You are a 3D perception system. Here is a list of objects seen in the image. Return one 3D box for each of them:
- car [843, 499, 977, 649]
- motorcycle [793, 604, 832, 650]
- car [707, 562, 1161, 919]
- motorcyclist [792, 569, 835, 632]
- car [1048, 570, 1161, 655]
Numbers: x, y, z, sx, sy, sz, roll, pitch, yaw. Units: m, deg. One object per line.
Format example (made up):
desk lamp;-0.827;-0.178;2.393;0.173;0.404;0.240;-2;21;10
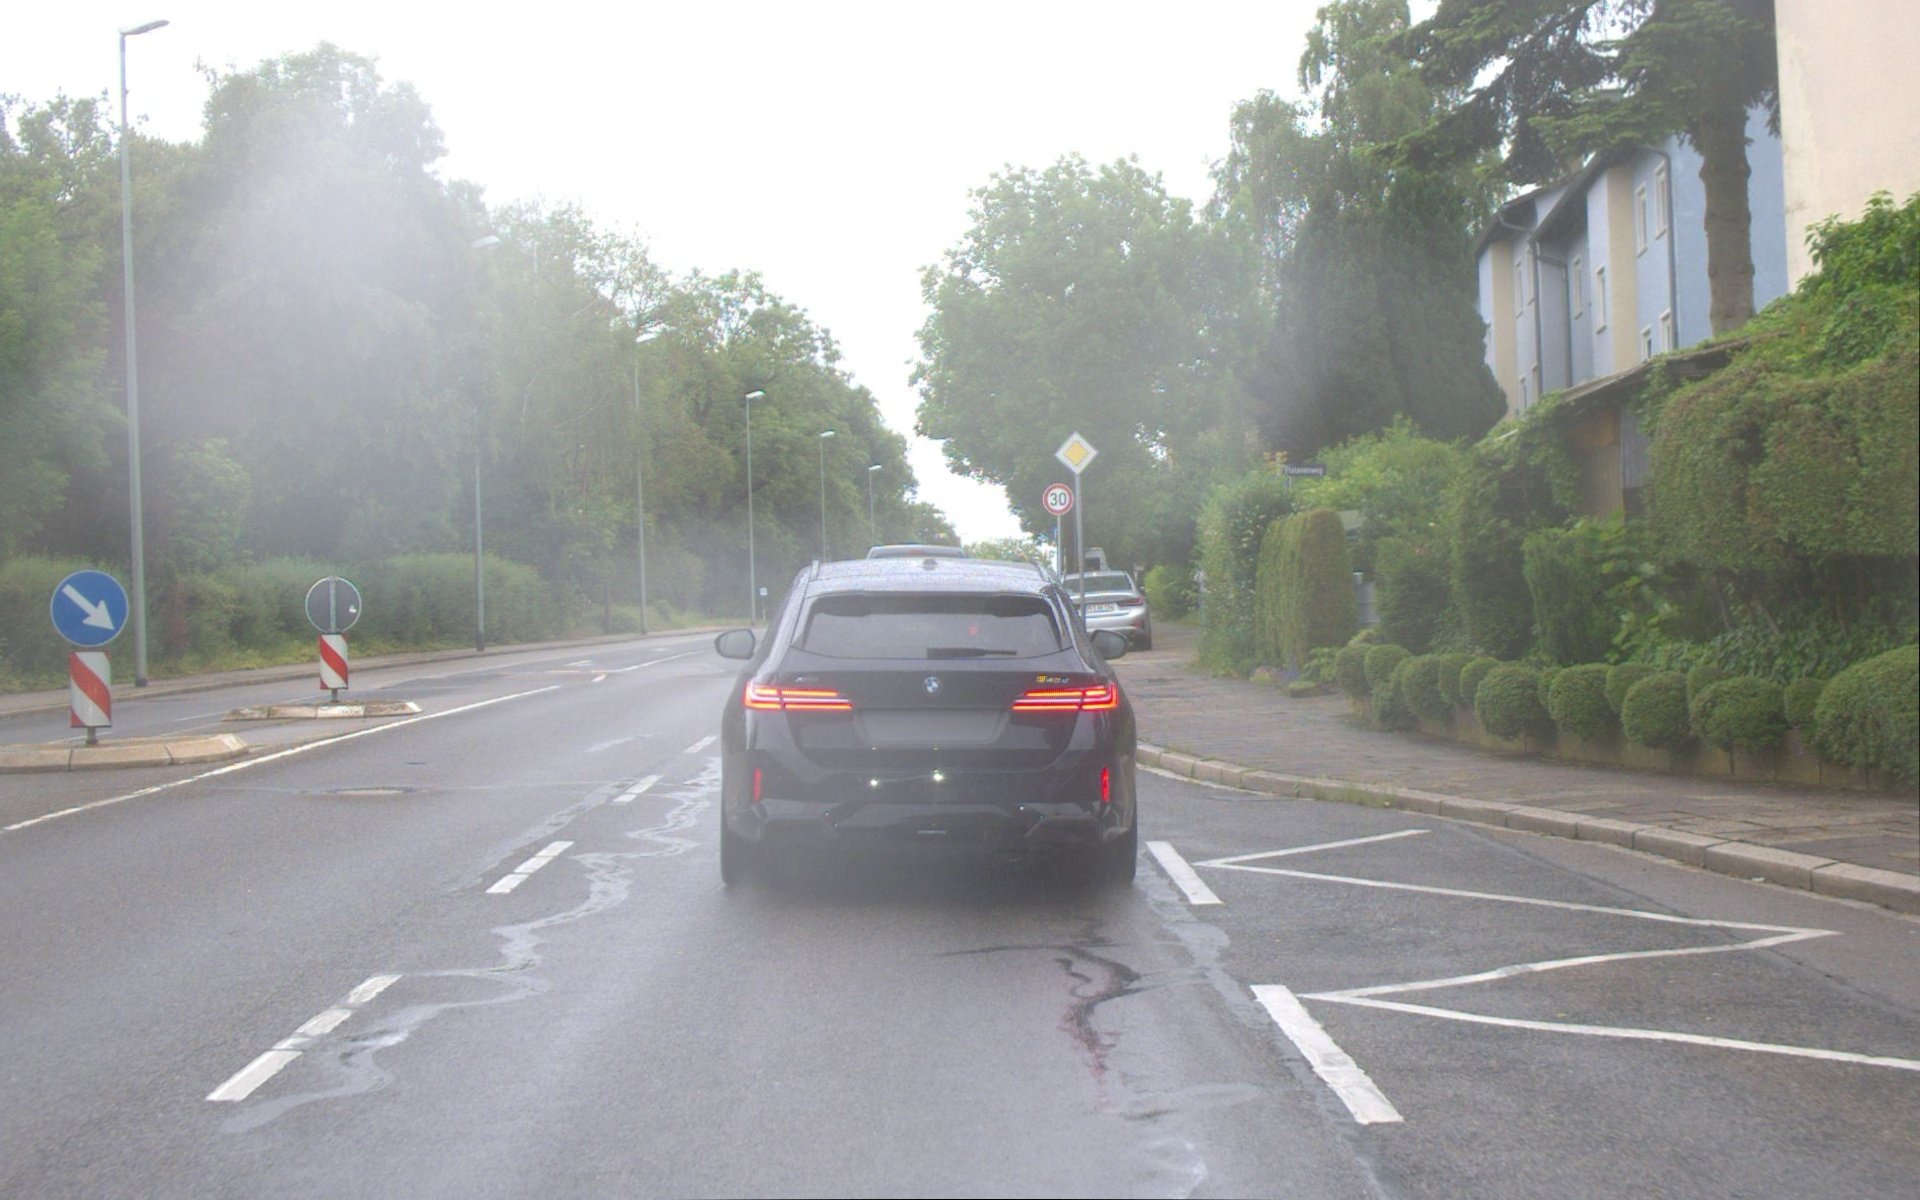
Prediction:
car;-0.653;-0.360;45.327;1.629;1.827;4.000;-2;1;-1
motorcycle;-3.708;0.676;86.467;0.876;1.120;2.741;1;0;-1
car;-0.098;0.578;16.520;1.897;1.484;4.000;1;0;0
motorcyclist;-3.695;0.012;86.590;1.039;1.562;0.855;1;0;-1
car;2.592;0.200;62.040;1.935;1.437;4.408;-1;0;2
